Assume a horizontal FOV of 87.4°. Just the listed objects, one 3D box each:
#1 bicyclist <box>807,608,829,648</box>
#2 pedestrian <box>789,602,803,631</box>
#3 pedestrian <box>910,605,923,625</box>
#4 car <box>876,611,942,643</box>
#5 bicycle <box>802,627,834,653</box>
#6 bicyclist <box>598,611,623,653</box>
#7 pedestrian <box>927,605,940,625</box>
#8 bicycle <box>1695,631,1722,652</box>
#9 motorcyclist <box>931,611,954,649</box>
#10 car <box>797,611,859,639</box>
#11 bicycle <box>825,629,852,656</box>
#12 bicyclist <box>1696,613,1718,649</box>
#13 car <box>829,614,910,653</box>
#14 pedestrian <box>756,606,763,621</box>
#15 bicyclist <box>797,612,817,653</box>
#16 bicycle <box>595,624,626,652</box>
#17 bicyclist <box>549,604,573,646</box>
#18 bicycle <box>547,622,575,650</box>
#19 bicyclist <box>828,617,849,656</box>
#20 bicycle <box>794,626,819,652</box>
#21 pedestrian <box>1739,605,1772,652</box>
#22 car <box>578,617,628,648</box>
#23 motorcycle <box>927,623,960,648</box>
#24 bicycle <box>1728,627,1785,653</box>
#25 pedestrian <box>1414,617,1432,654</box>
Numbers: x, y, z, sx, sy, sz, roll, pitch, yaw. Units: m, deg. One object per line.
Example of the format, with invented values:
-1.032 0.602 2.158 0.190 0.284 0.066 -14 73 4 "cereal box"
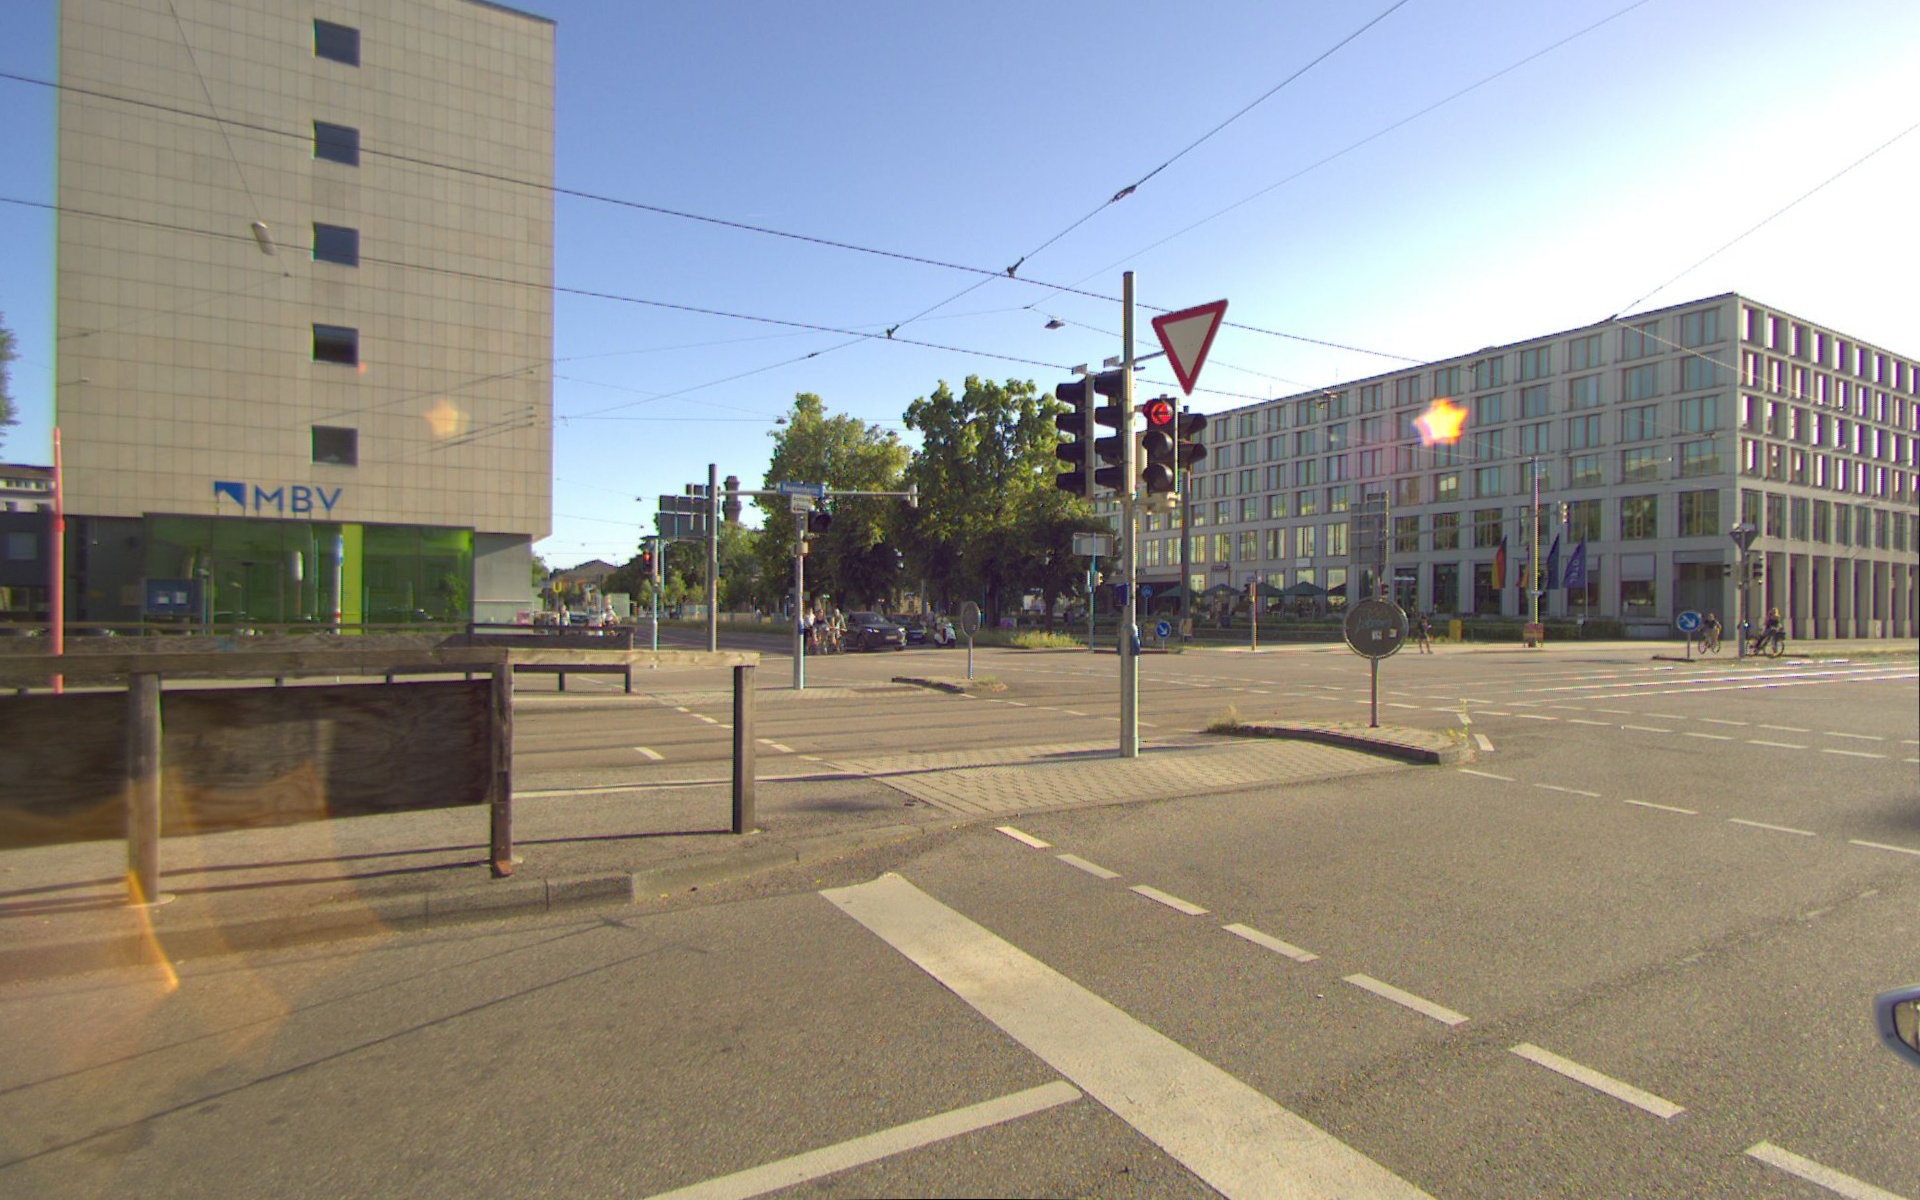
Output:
-5.642 1.107 39.858 0.577 1.563 0.833 0 -1 -32 "bicyclist"
-11.740 1.184 71.983 0.772 2.040 0.747 1 -1 -31 "pedestrian"
-3.775 1.275 87.141 0.858 1.738 0.737 1 0 -26 "pedestrian"
-2.582 1.333 50.048 1.674 1.506 3.719 1 -1 -33 "car"
-5.645 1.585 39.864 0.577 1.032 1.806 1 -2 -31 "bicycle"
-13.646 1.238 39.214 0.802 1.623 0.677 1 -1 -29 "bicyclist"
-2.330 1.311 86.977 0.858 1.738 0.737 1 0 -26 "pedestrian"
31.765 1.758 42.627 1.141 0.850 0.492 1 -1 -28 "bicycle"
-0.792 1.332 44.828 0.624 1.601 0.812 -4 1 -28 "motorcyclist"
-7.605 1.396 57.632 1.979 1.537 3.962 1 -1 -34 "car"
-4.874 1.679 40.223 0.576 1.032 1.666 1 -1 -27 "bicycle"
31.663 1.299 42.583 0.658 1.518 0.492 1 -1 -28 "bicyclist"
-3.859 1.375 42.342 1.925 1.561 3.969 2 -1 -29 "car"
-24.874 1.674 124.649 0.758 1.829 0.624 1 0 -6 "pedestrian"
-6.420 1.351 42.017 0.576 1.658 0.890 1 -1 -27 "bicyclist"
-13.688 1.456 39.287 0.802 1.047 2.111 1 -1 -28 "bicycle"
-15.632 0.972 39.343 0.802 1.623 0.677 0 -1 -29 "bicyclist"
-15.627 1.406 39.322 0.802 1.047 2.111 1 -1 -28 "bicycle"
-4.883 1.457 40.255 0.576 1.563 0.890 1 -1 -27 "bicyclist"
-6.424 1.613 42.015 0.576 1.032 1.666 1 -1 -27 "bicycle"
27.434 0.979 34.654 0.562 1.616 0.744 0 -1 -2 "pedestrian"
-19.464 1.757 54.670 1.975 1.472 4.179 1 0 -28 "car"
-0.753 1.581 44.797 0.624 1.030 1.972 -4 1 -28 "motorcycle"
27.433 1.374 34.627 0.562 0.834 1.718 0 -1 -2 "bicycle"
21.436 1.633 46.486 0.594 1.703 0.606 0 -1 9 "pedestrian"
